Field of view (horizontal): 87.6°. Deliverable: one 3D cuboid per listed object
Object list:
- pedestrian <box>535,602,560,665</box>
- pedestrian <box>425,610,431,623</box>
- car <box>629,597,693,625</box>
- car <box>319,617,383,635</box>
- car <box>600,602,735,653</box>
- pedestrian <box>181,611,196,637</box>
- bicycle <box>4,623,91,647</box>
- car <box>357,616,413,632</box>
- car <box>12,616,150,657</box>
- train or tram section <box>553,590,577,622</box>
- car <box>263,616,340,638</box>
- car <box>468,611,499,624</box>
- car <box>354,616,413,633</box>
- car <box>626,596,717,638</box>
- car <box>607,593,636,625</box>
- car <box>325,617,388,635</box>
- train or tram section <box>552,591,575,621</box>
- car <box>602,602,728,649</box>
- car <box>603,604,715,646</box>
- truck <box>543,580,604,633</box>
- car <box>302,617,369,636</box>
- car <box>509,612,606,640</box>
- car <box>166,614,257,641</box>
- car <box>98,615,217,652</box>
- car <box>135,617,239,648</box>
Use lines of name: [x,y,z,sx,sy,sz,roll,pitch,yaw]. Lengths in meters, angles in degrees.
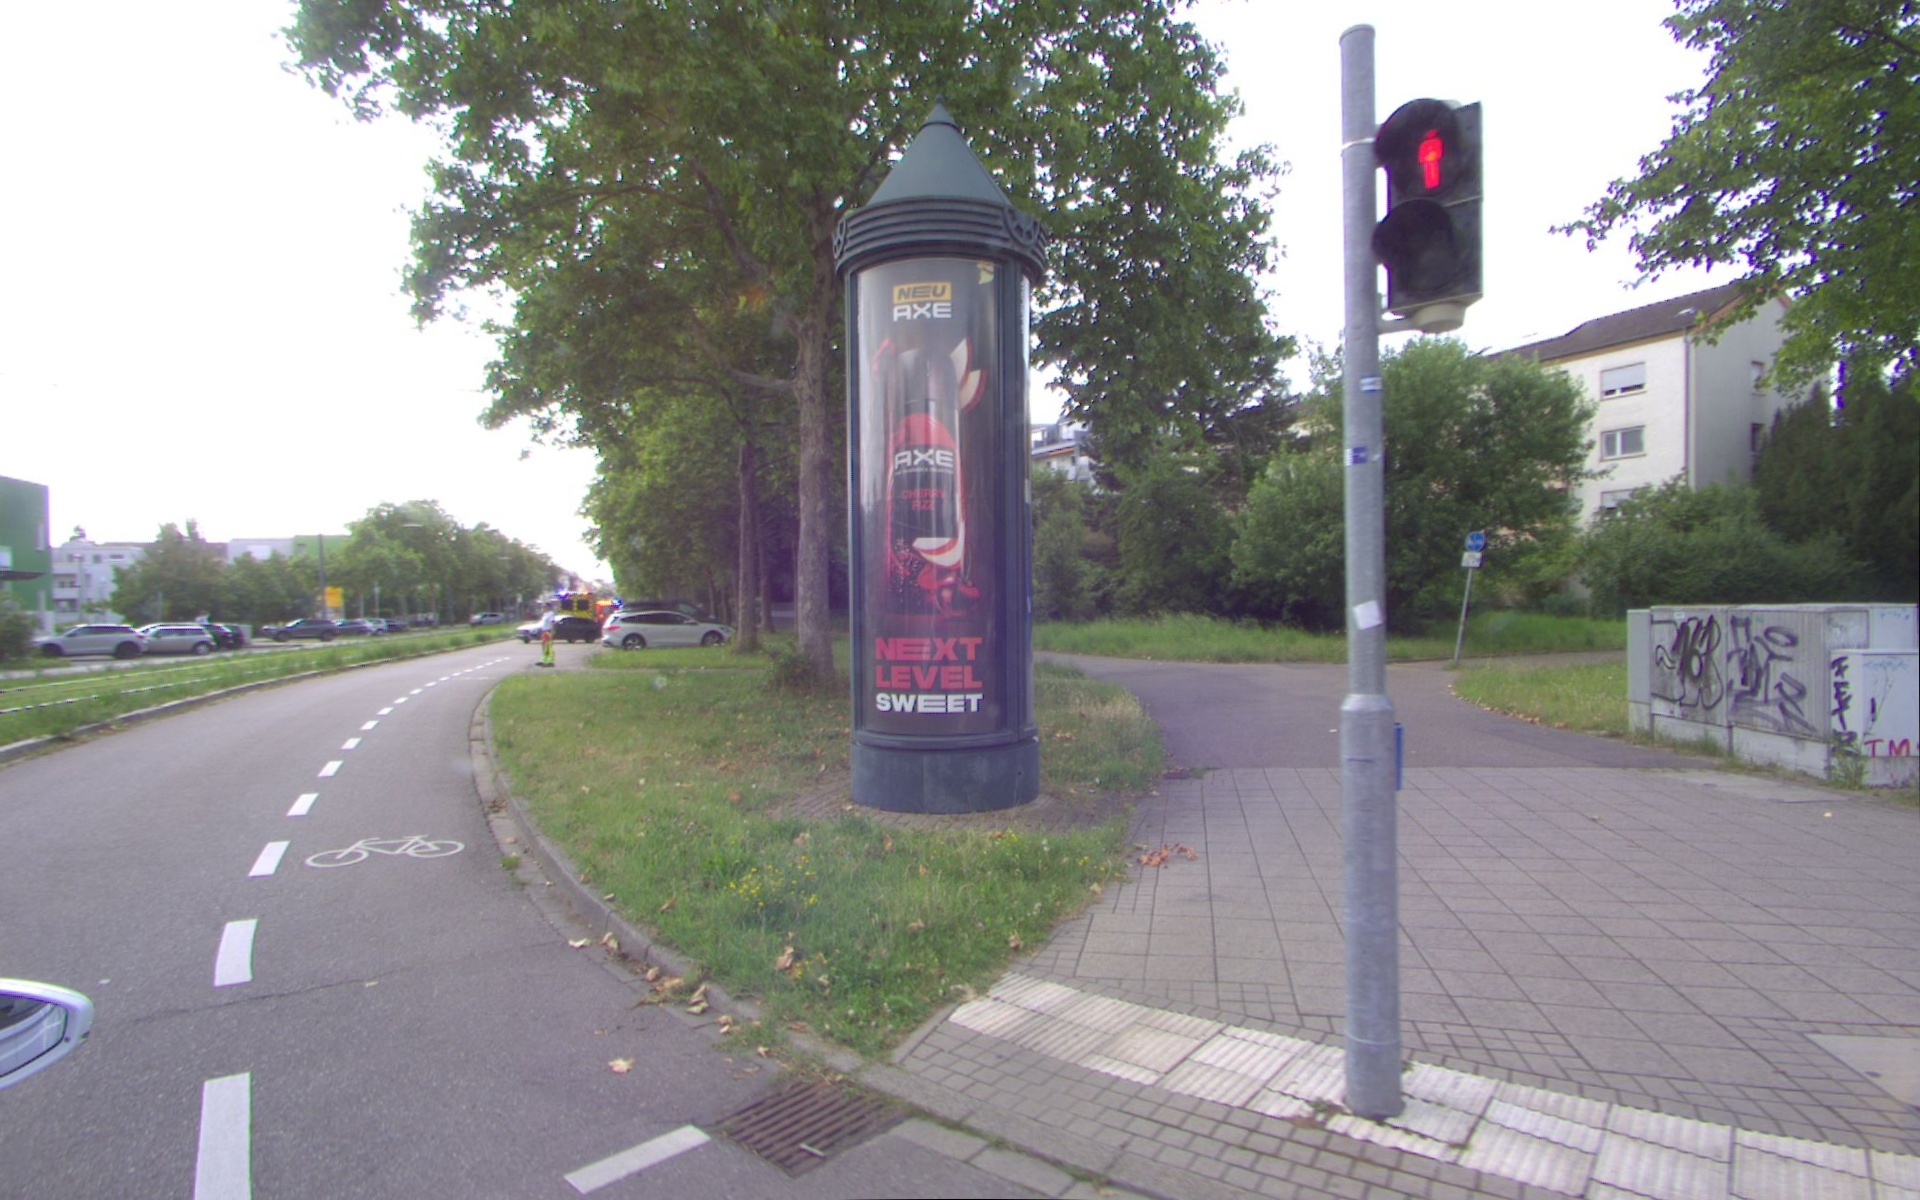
pedestrian: [-11.238,0.903,27.296,0.577,1.706,0.493,0,0,-16]
pedestrian: [-69.609,2.193,131.077,0.611,1.752,0.645,1,-1,-18]
car: [-37.536,1.437,125.741,7.338,3.373,2.966,1,-1,-23]
car: [-50.004,2.137,82.201,4.266,1.382,1.886,-1,0,-40]
car: [-10.434,0.979,35.677,4.465,1.665,1.996,-1,-1,-20]
pedestrian: [-49.192,1.528,63.857,0.588,1.697,0.539,-1,1,-26]
bicycle: [-47.198,1.803,51.862,3.091,1.181,1.139,-1,0,-22]
car: [-53.299,2.216,92.812,4.266,1.382,1.886,-1,0,-40]
car: [-38.297,1.556,43.725,1.879,1.651,4.282,-1,0,39]
train or tram section: [-47.290,0.685,119.719,2.455,3.644,7.397,-1,0,-23]
car: [-45.596,1.865,69.353,4.269,1.382,1.885,-1,0,-42]
car: [-72.898,2.689,153.237,1.801,1.861,3.969,0,-2,41]
car: [-51.052,2.142,88.718,4.266,1.382,1.886,-1,0,-40]
car: [-15.124,0.884,52.548,4.476,2.040,1.997,-1,0,-17]
car: [-37.767,1.016,111.668,2.924,3.373,7.444,1,-1,-19]
car: [-50.977,2.186,84.602,4.266,1.382,1.886,-1,0,-40]
train or tram section: [-50.133,0.818,126.525,2.455,3.644,7.397,-1,0,-23]
car: [-11.249,0.967,38.125,4.465,1.665,1.996,-1,-1,-20]
car: [-12.928,1.050,43.016,4.465,1.665,1.996,-1,-1,-20]
truck: [-25.933,0.450,67.532,3.137,3.361,7.510,-1,0,-16]
car: [-49.247,2.067,78.962,4.266,1.382,1.886,-1,0,-40]
car: [-21.385,1.355,53.325,1.816,1.411,4.578,0,0,35]
car: [-43.384,1.580,58.074,4.124,1.523,1.845,0,-1,-40]
car: [-38.205,1.575,47.738,1.882,1.650,4.275,-1,-1,44]
car: [-40.568,1.674,52.609,1.842,1.523,4.131,-1,-1,45]
